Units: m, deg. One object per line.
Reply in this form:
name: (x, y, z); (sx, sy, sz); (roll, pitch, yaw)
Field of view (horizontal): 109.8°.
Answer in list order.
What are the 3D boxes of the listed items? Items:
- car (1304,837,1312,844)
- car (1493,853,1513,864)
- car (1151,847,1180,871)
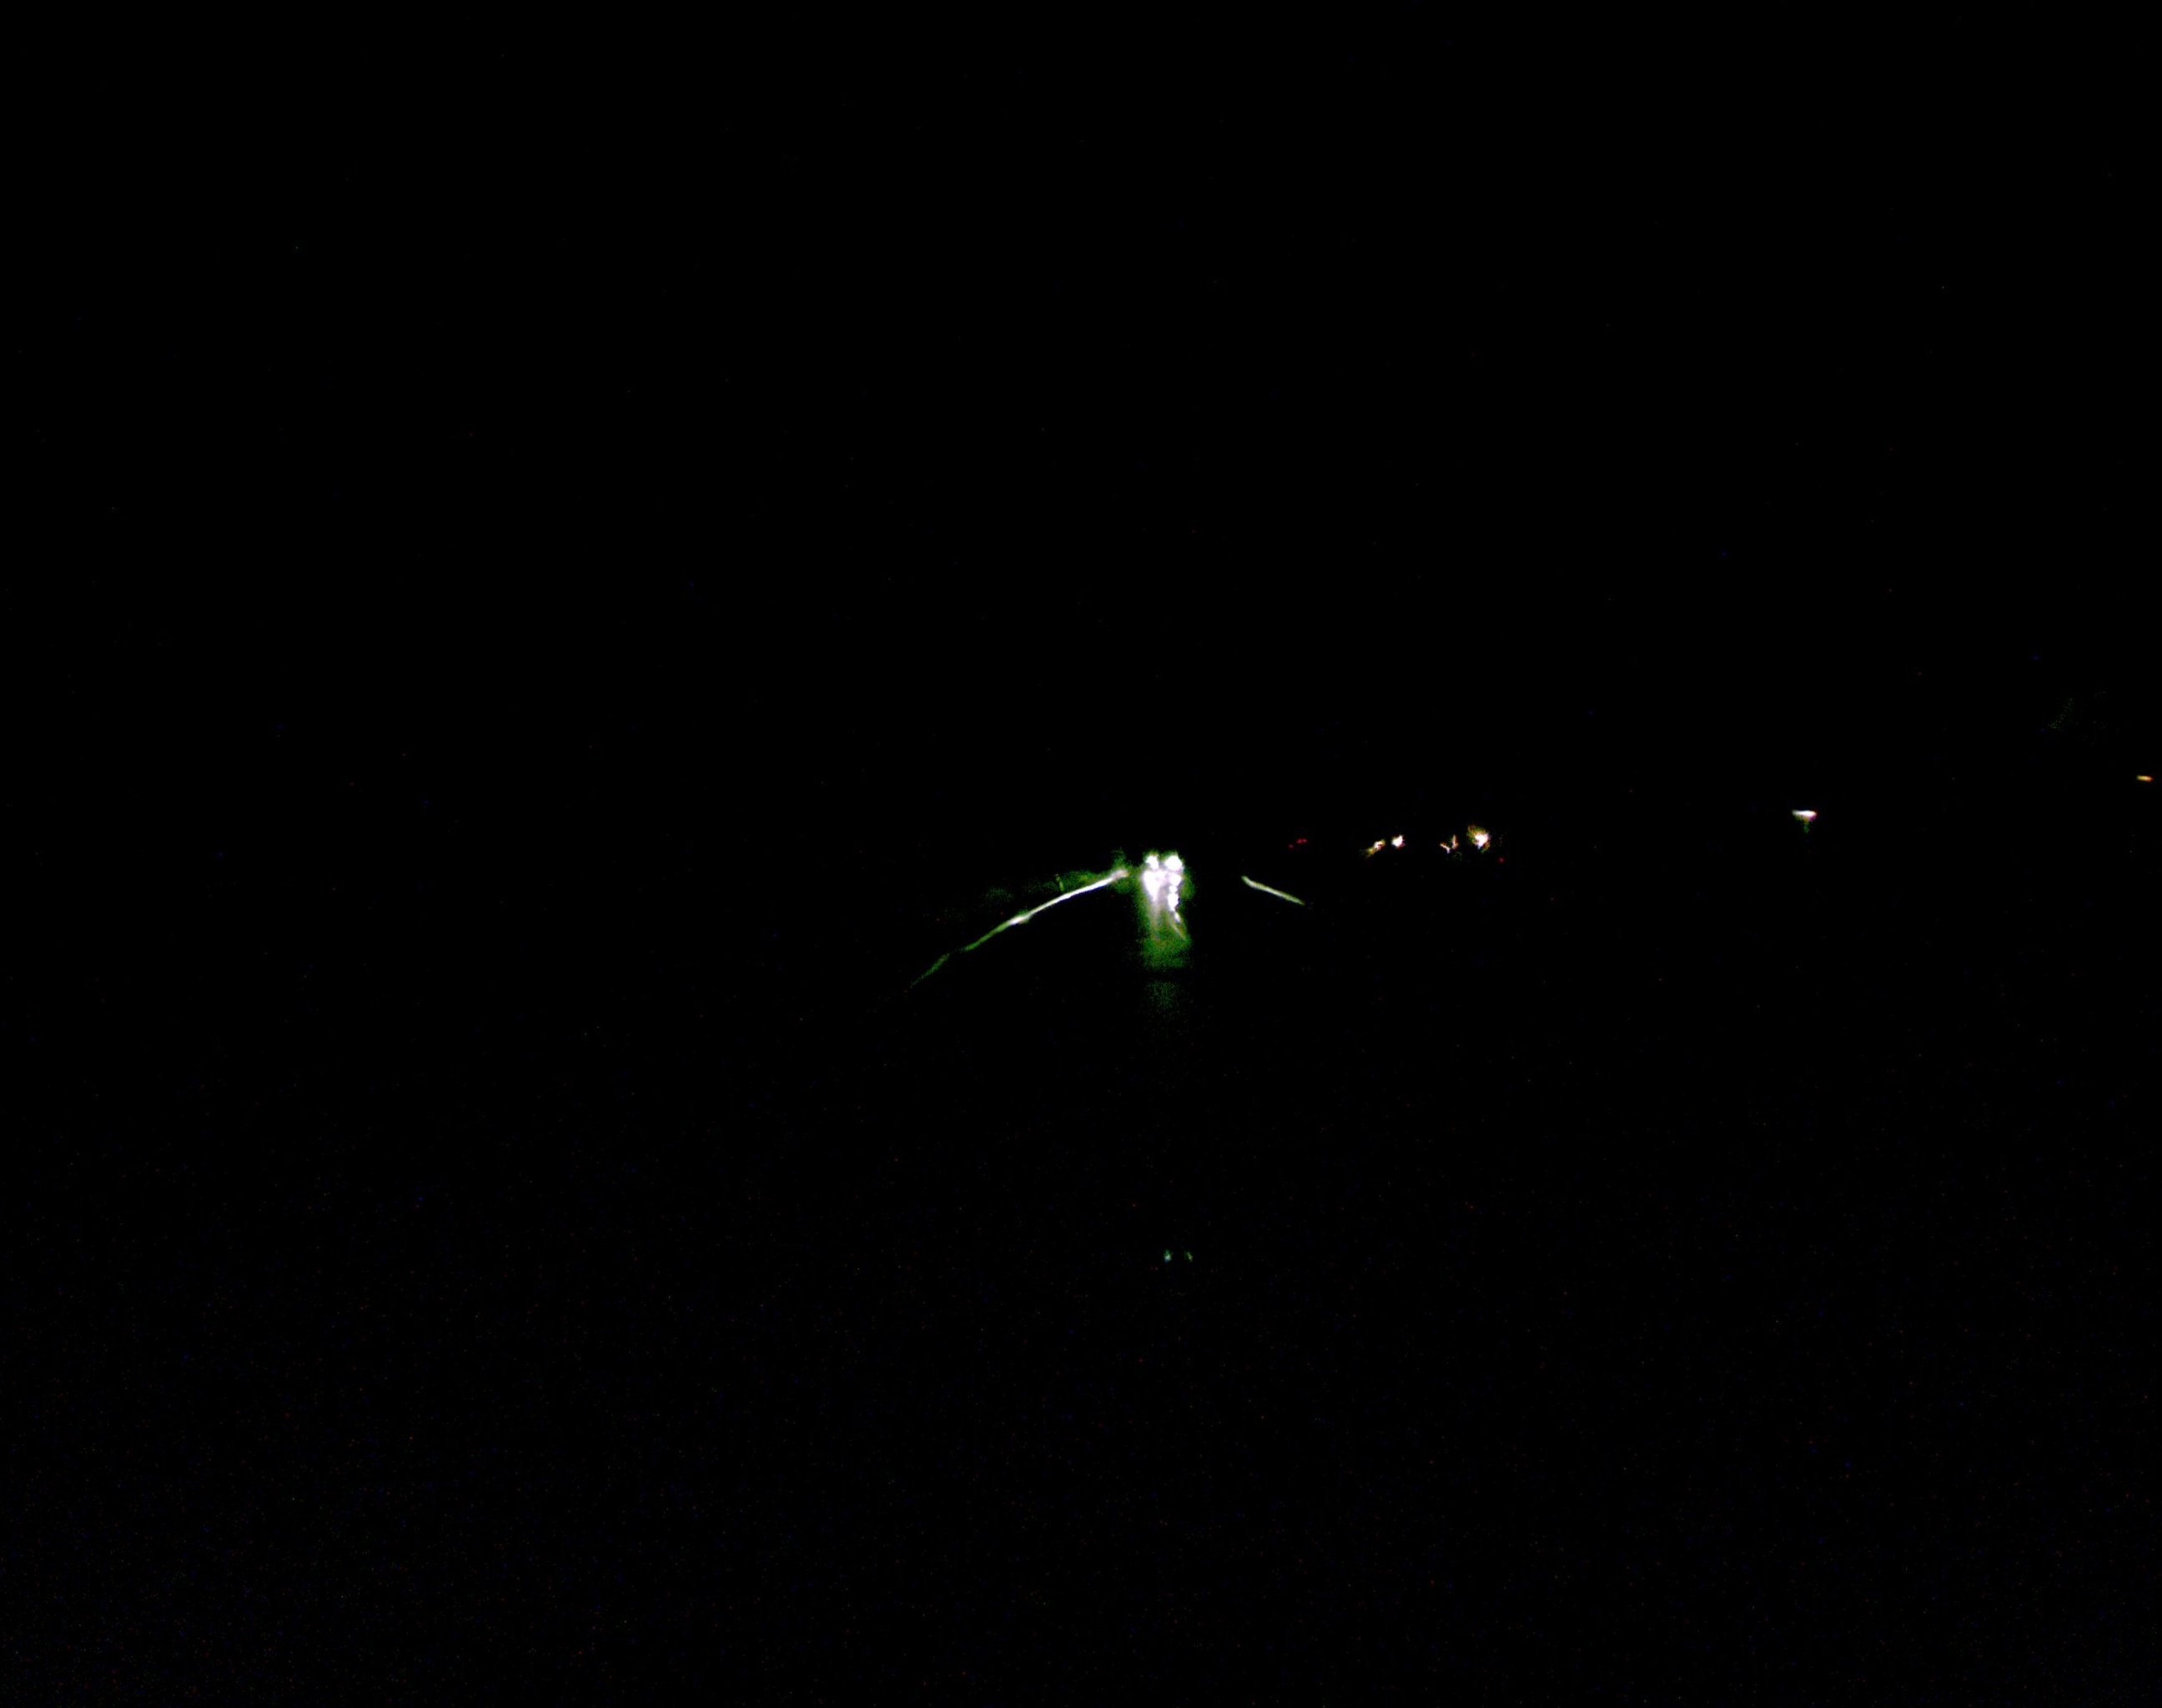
car: (61.396, -3.647, 205.469); (1.736, 1.534, 4.005); (-2, 1, 21)
car: (69.588, 0.735, 125.328); (1.658, 1.512, 3.451); (-3, 1, 9)
car: (6.553, 0.382, 58.500); (1.958, 1.712, 4.002); (-1, 1, 9)
